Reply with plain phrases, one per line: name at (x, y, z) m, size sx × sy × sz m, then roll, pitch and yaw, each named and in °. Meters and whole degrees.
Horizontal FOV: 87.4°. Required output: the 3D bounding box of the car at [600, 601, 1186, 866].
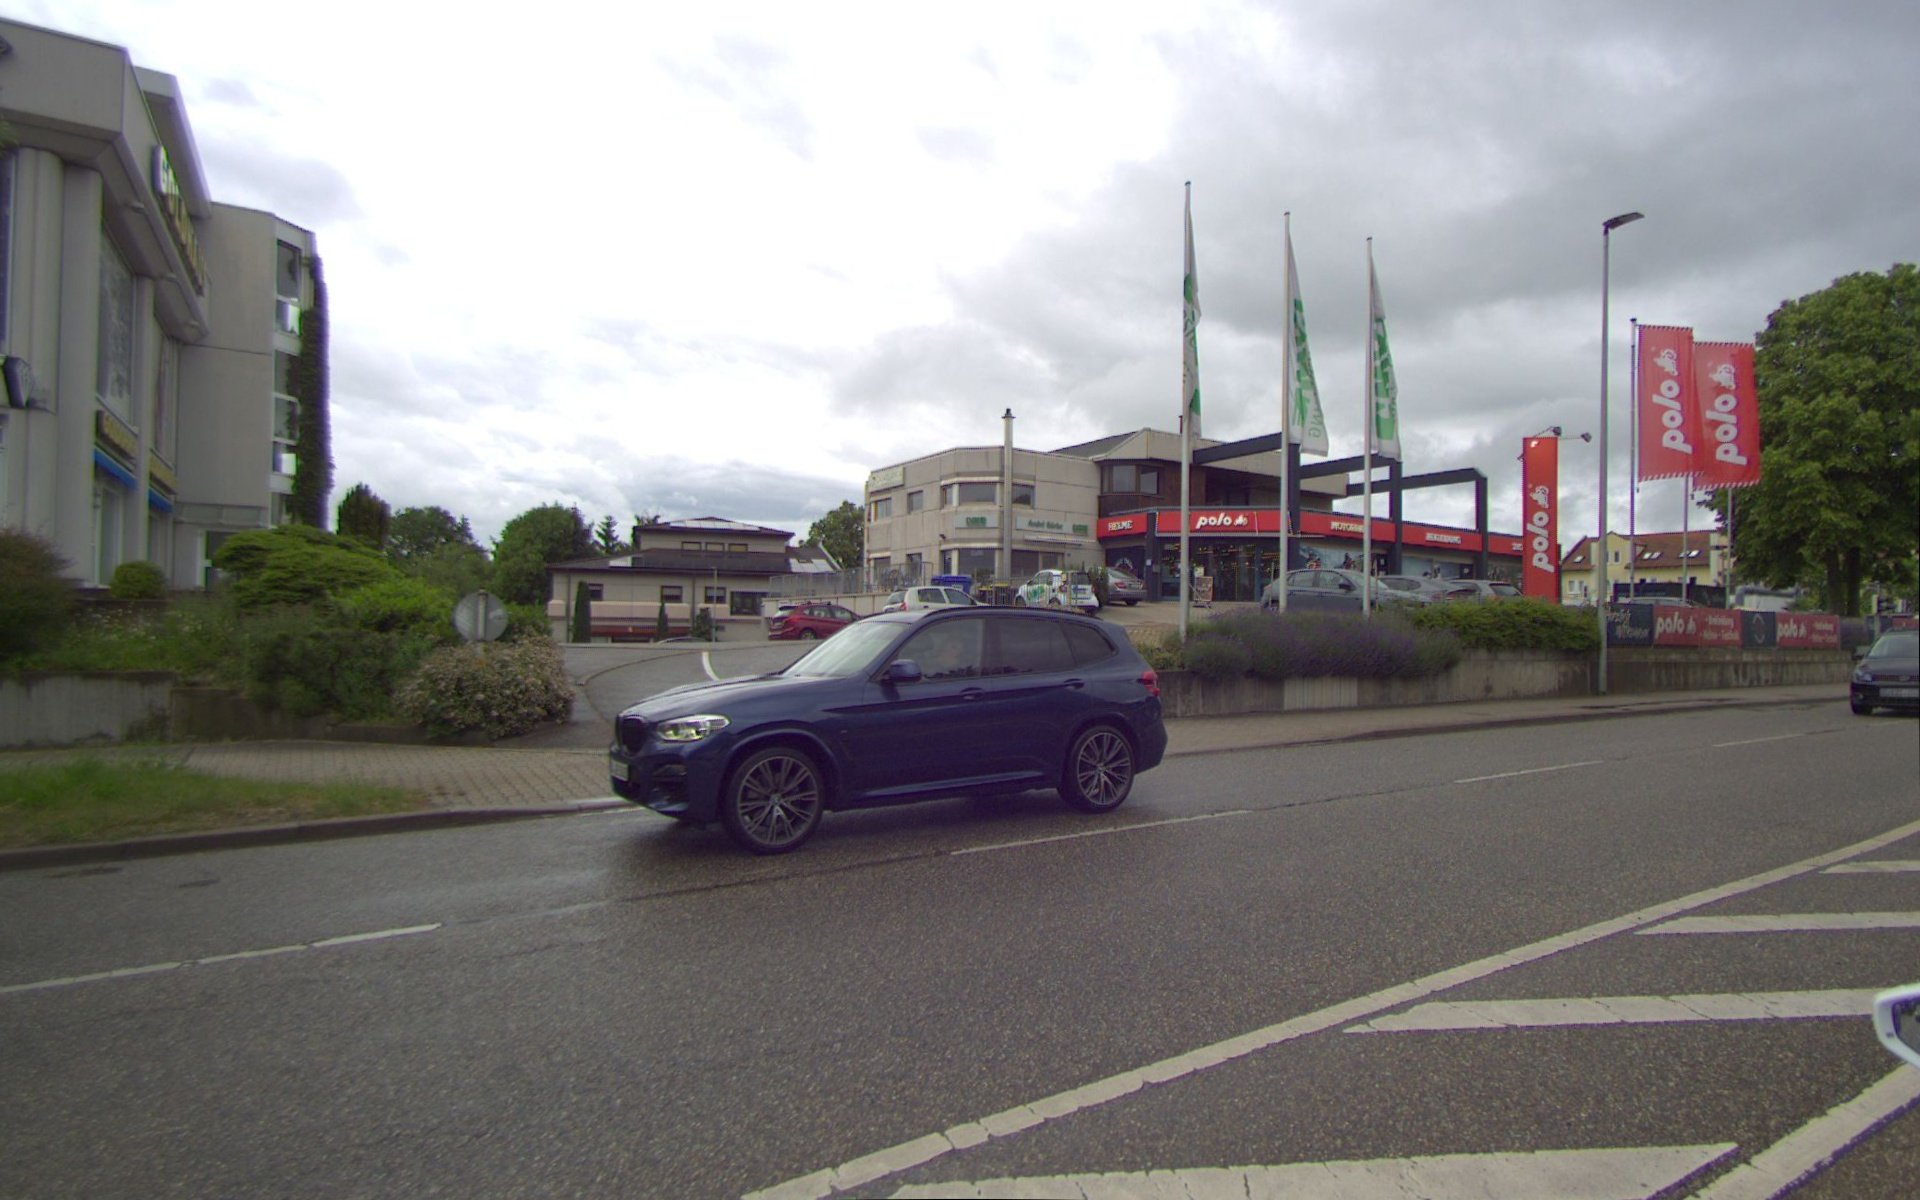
car at (-0.411, 0.886, 8.164) m, size 4.483 × 1.632 × 1.742 m, roll 1°, pitch -3°, yaw -33°

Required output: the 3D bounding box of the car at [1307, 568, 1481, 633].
car at (10.750, 0.045, 25.063) m, size 1.726 × 1.502 × 3.620 m, roll 1°, pitch -1°, yaw -37°

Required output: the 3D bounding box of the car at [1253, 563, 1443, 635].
car at (8.886, 0.021, 23.240) m, size 1.726 × 1.502 × 3.798 m, roll 1°, pitch -1°, yaw -37°

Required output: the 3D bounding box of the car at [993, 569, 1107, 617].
car at (2.971, -0.176, 33.884) m, size 1.856 × 1.502 × 3.801 m, roll 1°, pitch -1°, yaw -35°

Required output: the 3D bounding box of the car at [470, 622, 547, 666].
car at (-16.579, 1.567, 37.105) m, size 1.842 × 1.532 × 3.992 m, roll 0°, pitch -1°, yaw -13°

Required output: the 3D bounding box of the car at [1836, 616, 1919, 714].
car at (18.223, 1.181, 18.913) m, size 4.109 × 1.699 × 1.744 m, roll 1°, pitch -3°, yaw -37°

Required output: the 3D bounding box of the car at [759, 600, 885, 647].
car at (-4.737, 0.852, 34.683) m, size 4.015 × 1.532 × 1.663 m, roll 1°, pitch -3°, yaw -36°

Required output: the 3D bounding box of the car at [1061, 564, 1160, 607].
car at (5.830, -0.537, 39.315) m, size 1.851 × 1.532 × 3.974 m, roll 1°, pitch -1°, yaw -27°

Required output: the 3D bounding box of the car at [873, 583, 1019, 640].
car at (-0.392, 0.376, 29.083) m, size 3.956 × 1.532 × 1.666 m, roll 1°, pitch -3°, yaw -31°
